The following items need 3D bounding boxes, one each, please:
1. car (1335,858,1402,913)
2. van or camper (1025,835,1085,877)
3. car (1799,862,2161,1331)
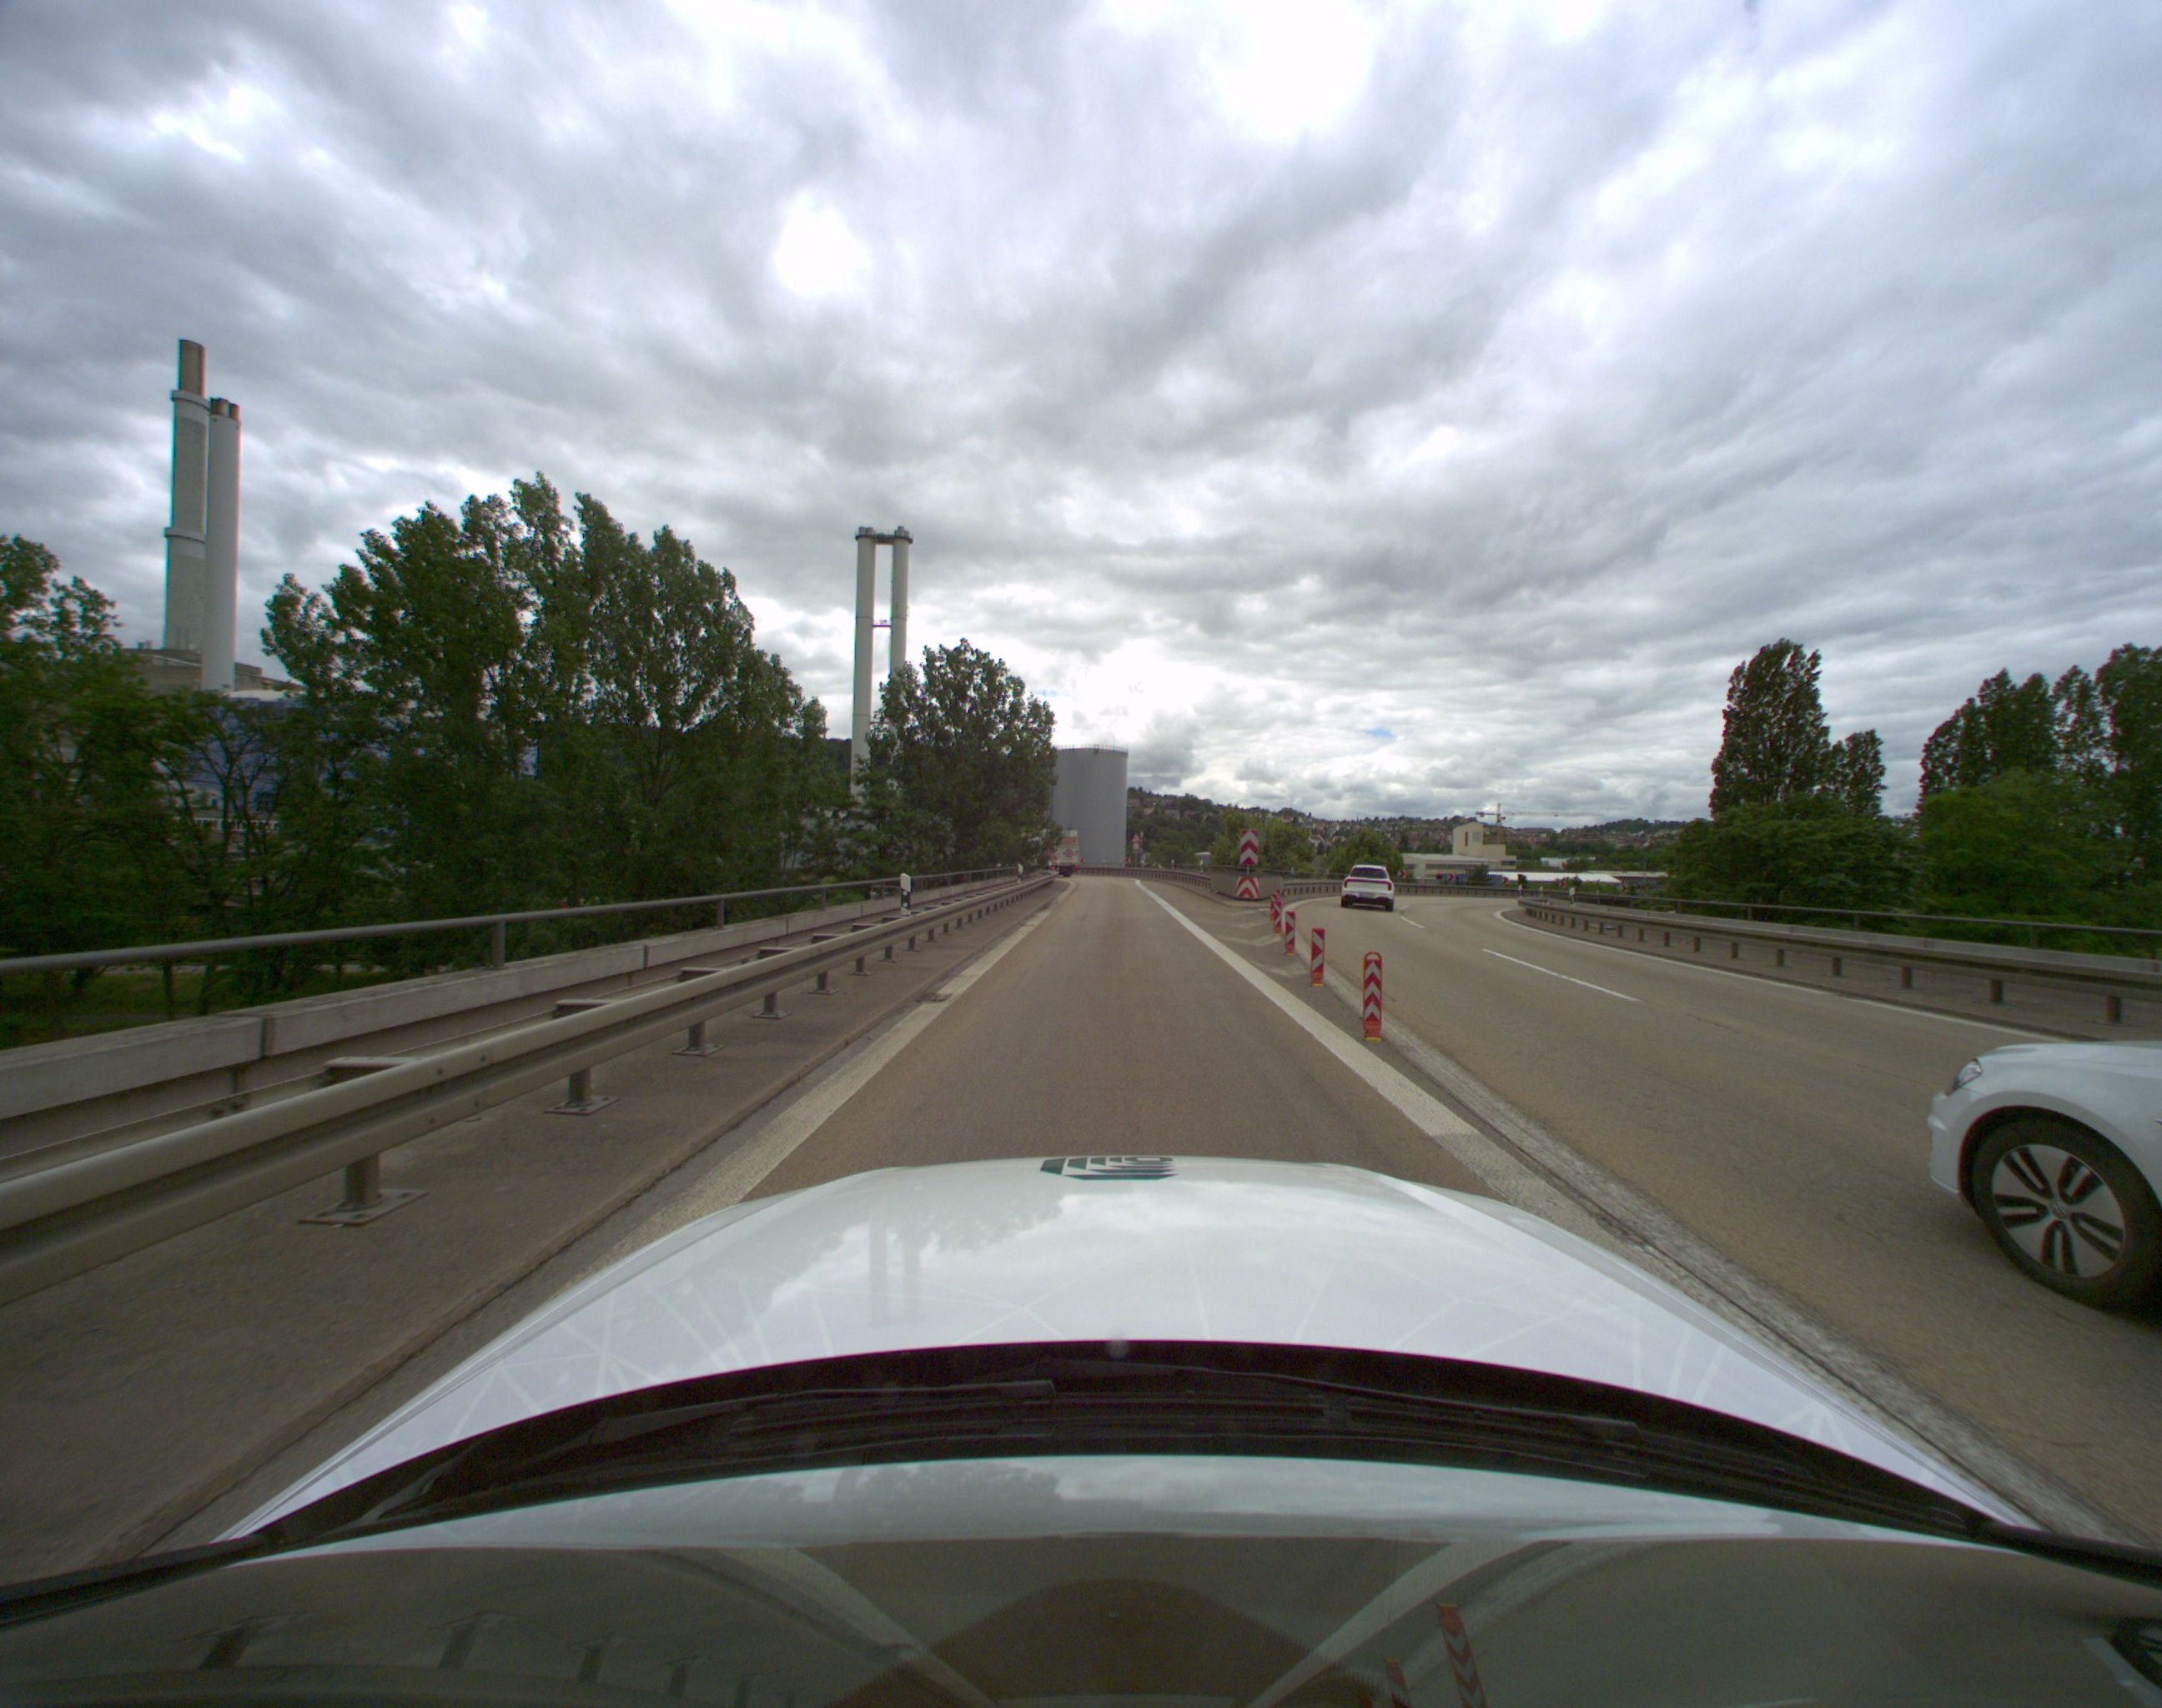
[{"bbox_3d":[10.957,1.137,31.303,1.910,1.785,4.128,5,1,14],"label":"car"},{"bbox_3d":[-2.457,0.251,74.180,3.131,3.579,8.495,0,-1,-19],"label":"van or camper"},{"bbox_3d":[4.205,0.782,1.860,1.746,1.452,4.077,2,0,4],"label":"car"}]
